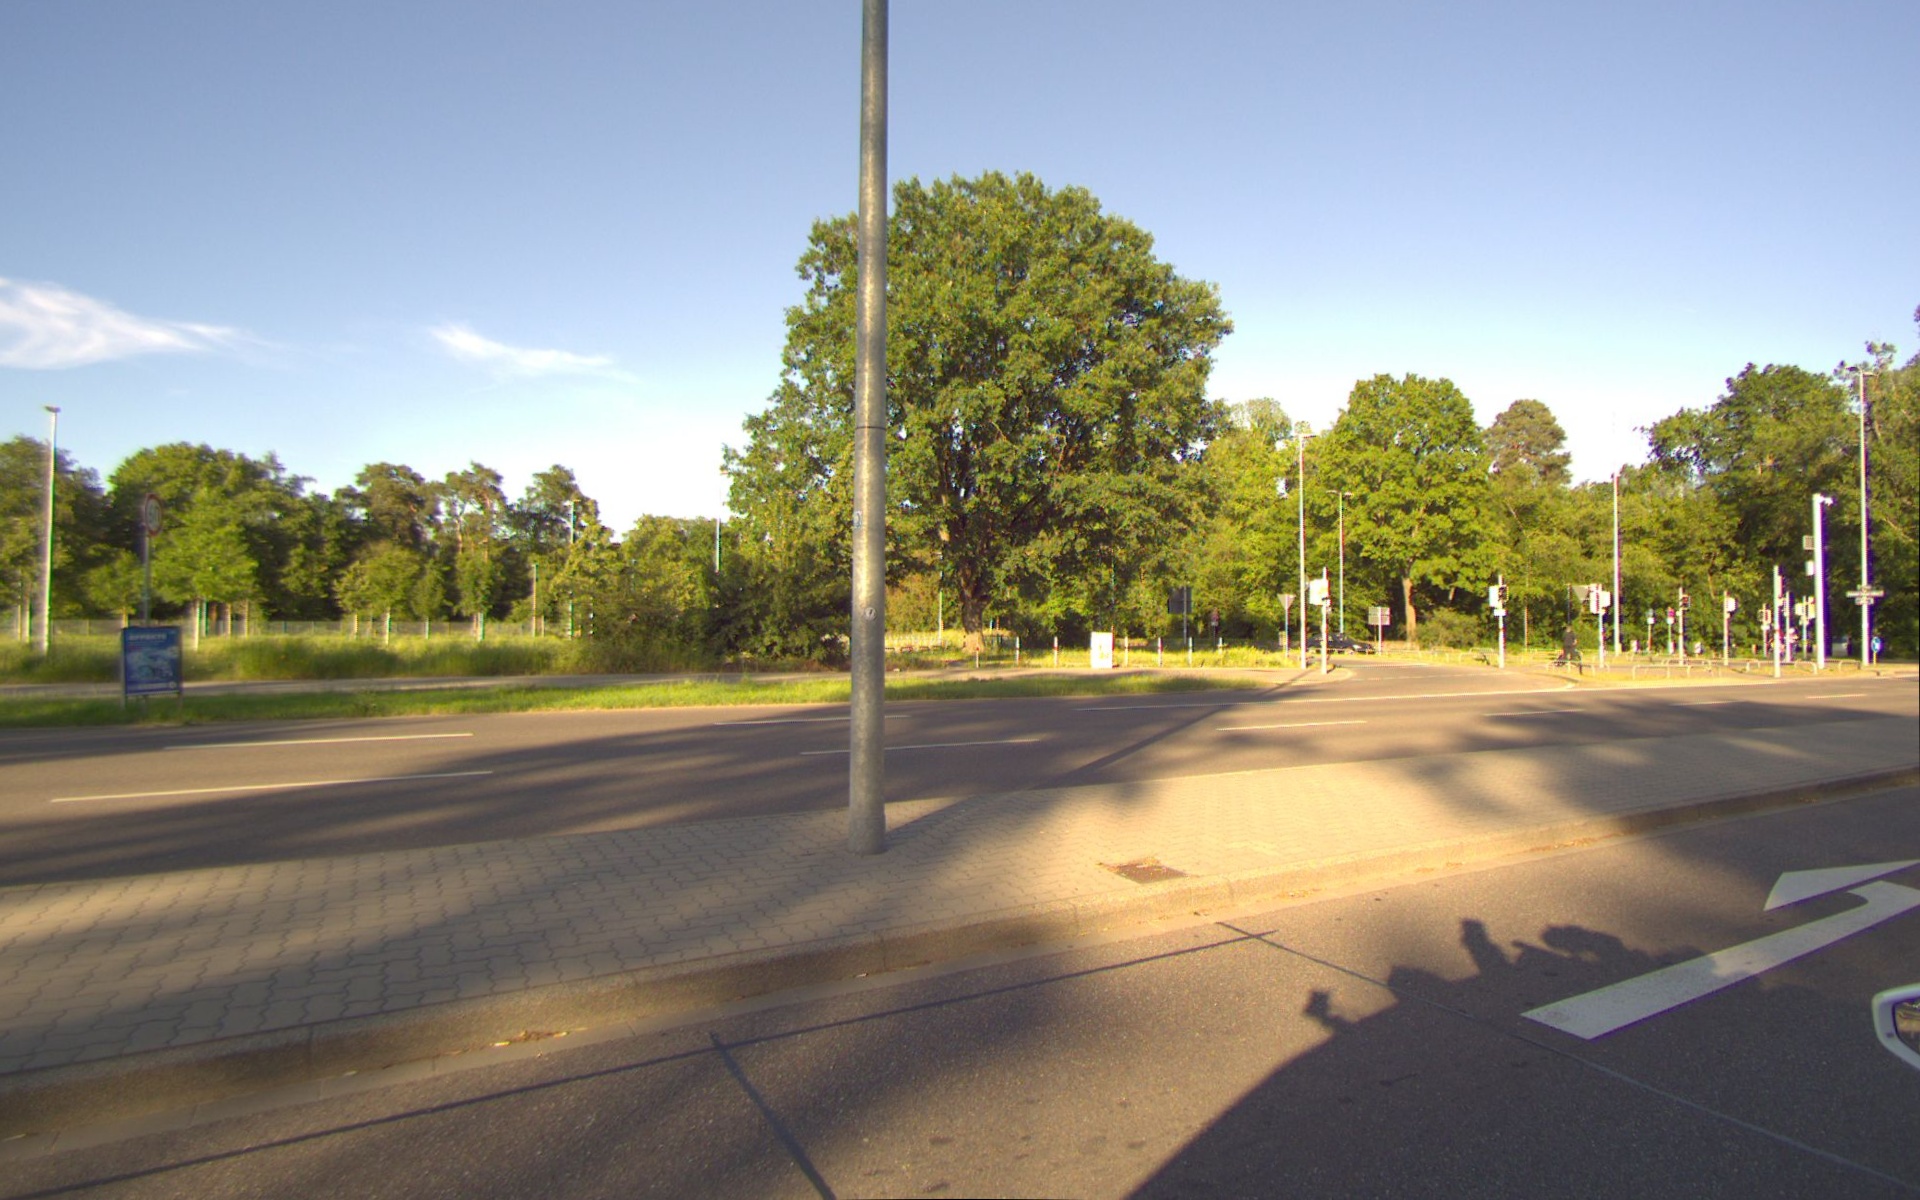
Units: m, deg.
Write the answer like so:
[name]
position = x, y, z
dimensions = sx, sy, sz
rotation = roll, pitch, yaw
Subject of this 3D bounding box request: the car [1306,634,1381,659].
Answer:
[car]
position = 22.304, 2.713, 58.604
dimensions = 1.728, 1.405, 4.092
rotation = 1, -2, -24

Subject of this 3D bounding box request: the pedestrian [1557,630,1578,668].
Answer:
[pedestrian]
position = 25.742, 2.065, 42.551
dimensions = 0.636, 1.580, 0.539
rotation = 0, -2, 18
